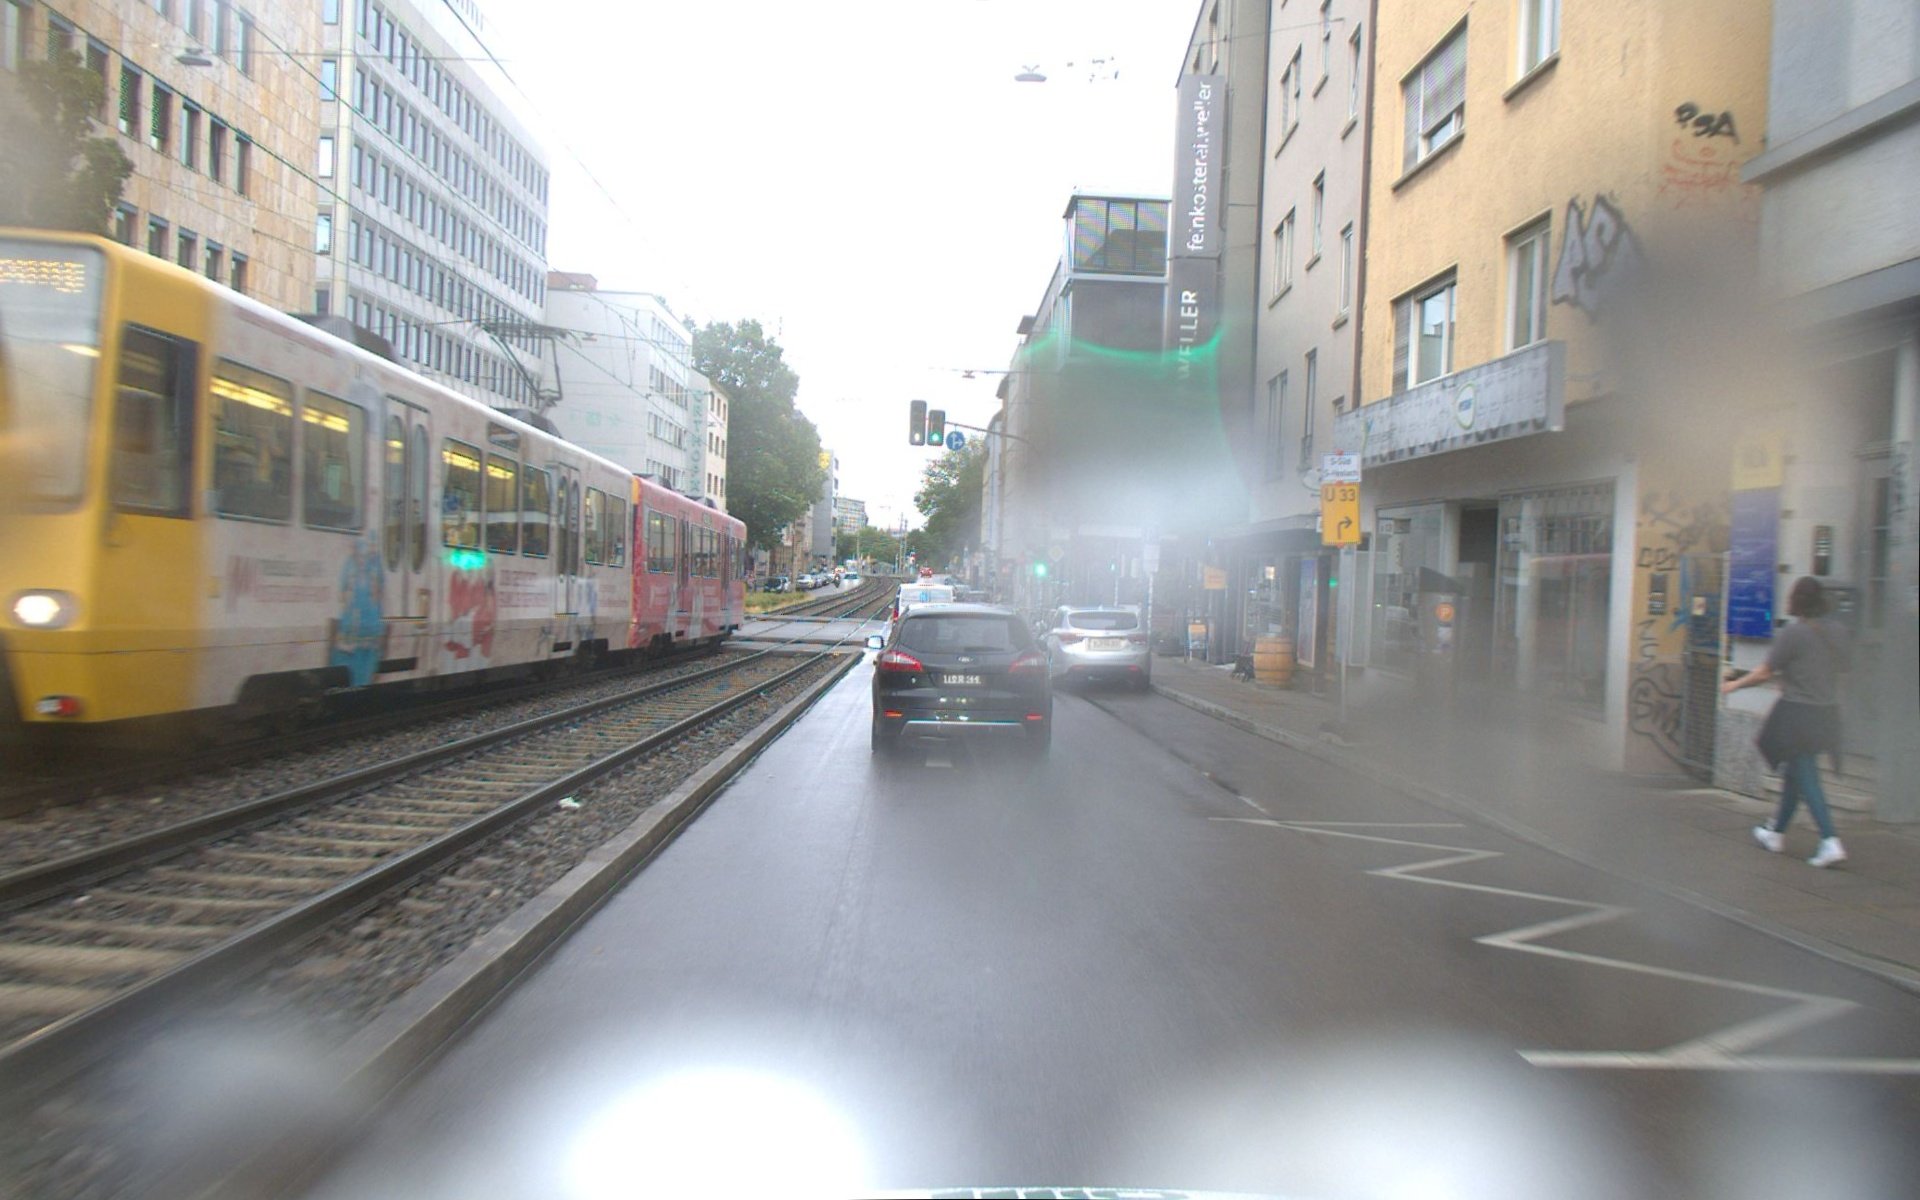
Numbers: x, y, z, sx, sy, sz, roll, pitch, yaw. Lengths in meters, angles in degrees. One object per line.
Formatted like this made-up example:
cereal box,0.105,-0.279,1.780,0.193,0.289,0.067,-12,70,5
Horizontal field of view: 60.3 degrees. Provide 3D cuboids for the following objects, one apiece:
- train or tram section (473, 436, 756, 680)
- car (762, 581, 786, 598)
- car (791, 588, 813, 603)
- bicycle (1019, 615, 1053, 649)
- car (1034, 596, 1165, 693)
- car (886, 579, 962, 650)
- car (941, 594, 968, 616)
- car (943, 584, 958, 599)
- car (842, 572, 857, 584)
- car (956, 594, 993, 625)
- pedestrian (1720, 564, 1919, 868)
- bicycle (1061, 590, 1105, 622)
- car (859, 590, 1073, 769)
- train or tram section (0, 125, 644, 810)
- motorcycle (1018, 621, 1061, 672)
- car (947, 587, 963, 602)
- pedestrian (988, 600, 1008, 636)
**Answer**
train or tram section,-7.090,-0.639,37.814,2.843,4.121,18.762,1,-1,-1
car,-16.446,-0.941,146.381,1.708,1.494,4.219,1,1,-1
car,-17.092,-0.483,178.847,1.953,1.545,4.434,2,1,-1
bicycle,3.075,1.292,66.900,0.491,1.280,1.941,2,0,-25
car,2.519,0.770,30.915,1.983,1.622,4.620,1,0,-1
car,-0.966,0.385,46.094,1.953,1.848,4.271,1,0,0
car,-0.435,0.389,124.559,1.953,1.622,4.571,1,0,-1
car,-1.104,-0.974,192.421,1.609,1.542,4.038,2,1,-2
car,-16.568,-3.340,247.984,1.953,1.545,4.442,3,-1,-1
car,0.770,0.525,92.979,1.953,1.622,4.270,1,0,-1
pedestrian,4.979,0.646,9.602,0.775,1.688,0.721,-1,0,-2
bicycle,4.839,0.220,65.290,0.572,1.177,1.931,3,0,-37
car,0.030,0.749,17.534,1.953,1.622,4.270,1,0,-1
train or tram section,-6.703,-0.751,19.147,2.843,4.121,18.406,1,-1,-1
motorcycle,2.434,1.414,50.364,1.120,1.487,0.675,2,0,-38
car,-0.599,-0.640,187.479,1.704,1.515,3.999,2,1,-2
pedestrian,1.719,0.822,74.811,0.650,1.610,0.774,2,0,-23
